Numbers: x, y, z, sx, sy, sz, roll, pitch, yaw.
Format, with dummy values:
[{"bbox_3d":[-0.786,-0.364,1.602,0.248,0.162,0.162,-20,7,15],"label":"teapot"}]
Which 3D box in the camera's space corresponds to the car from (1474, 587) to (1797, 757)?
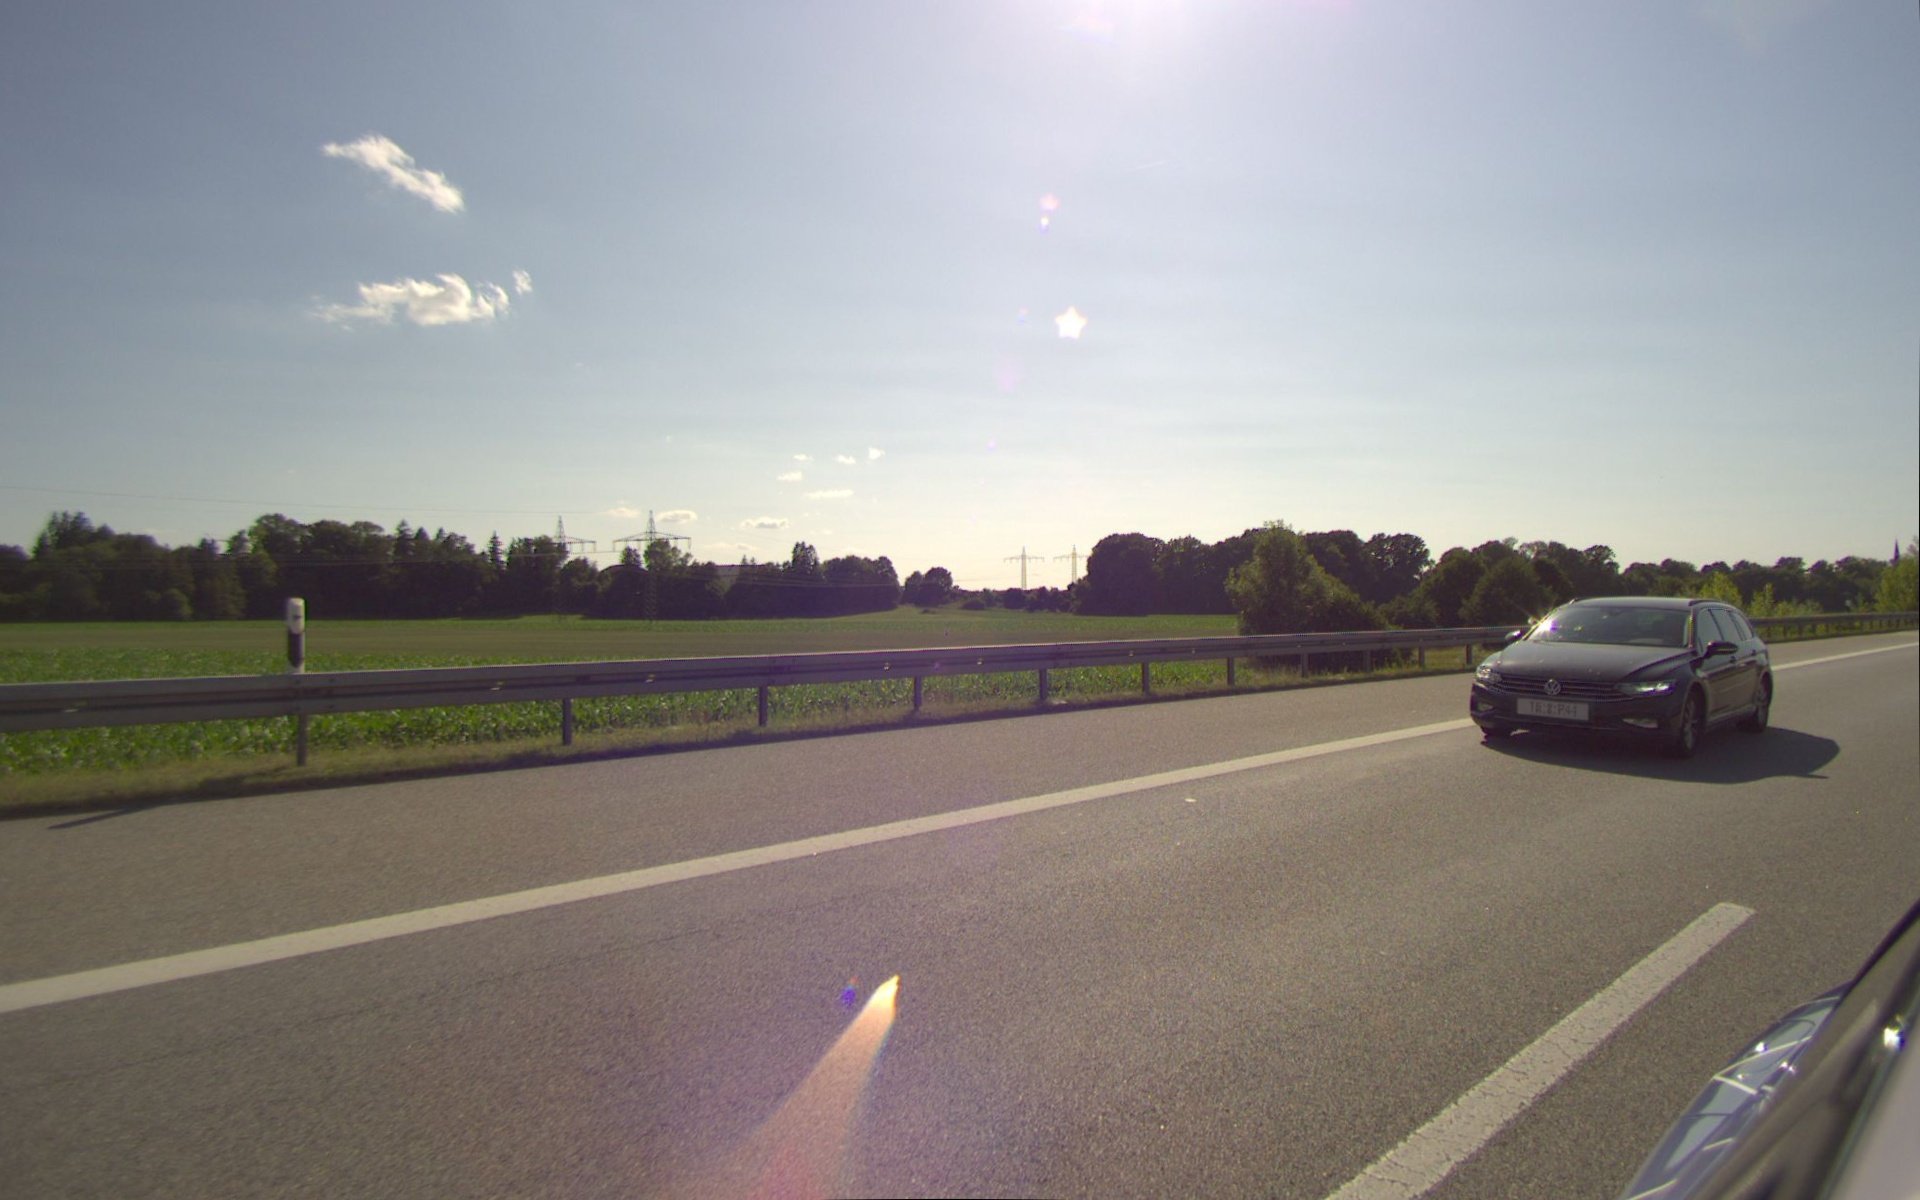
[{"bbox_3d":[7.229,0.582,10.650,4.336,1.417,1.722,-1,1,-40],"label":"car"}]
